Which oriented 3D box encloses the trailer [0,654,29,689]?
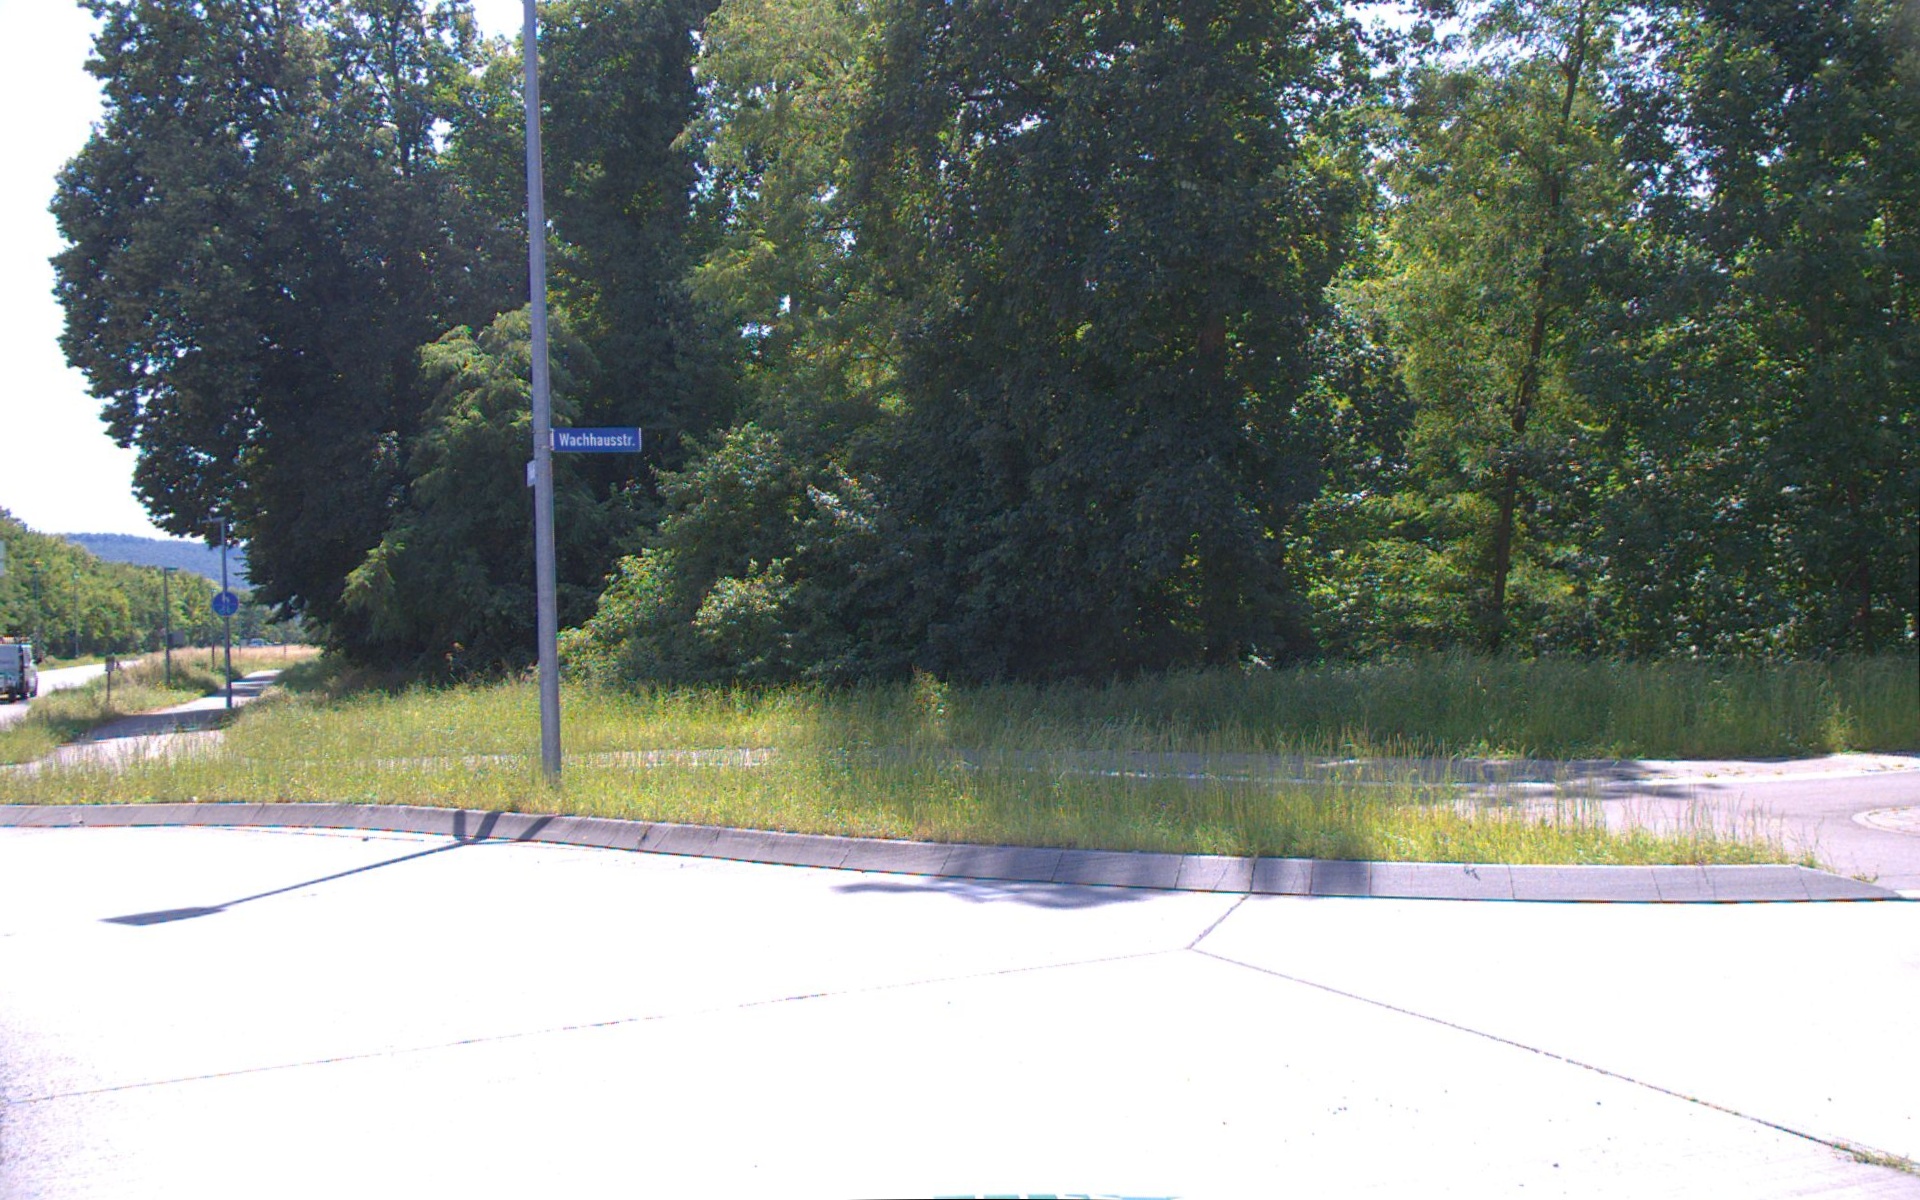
[{"bbox_3d":[-32.371,2.410,55.212,2.097,1.116,3.324,-1,-1,-27],"label":"trailer"}]

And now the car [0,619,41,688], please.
[{"bbox_3d":[-34.217,1.926,58.888,2.138,2.357,4.943,-1,-1,-24],"label":"car"}]
